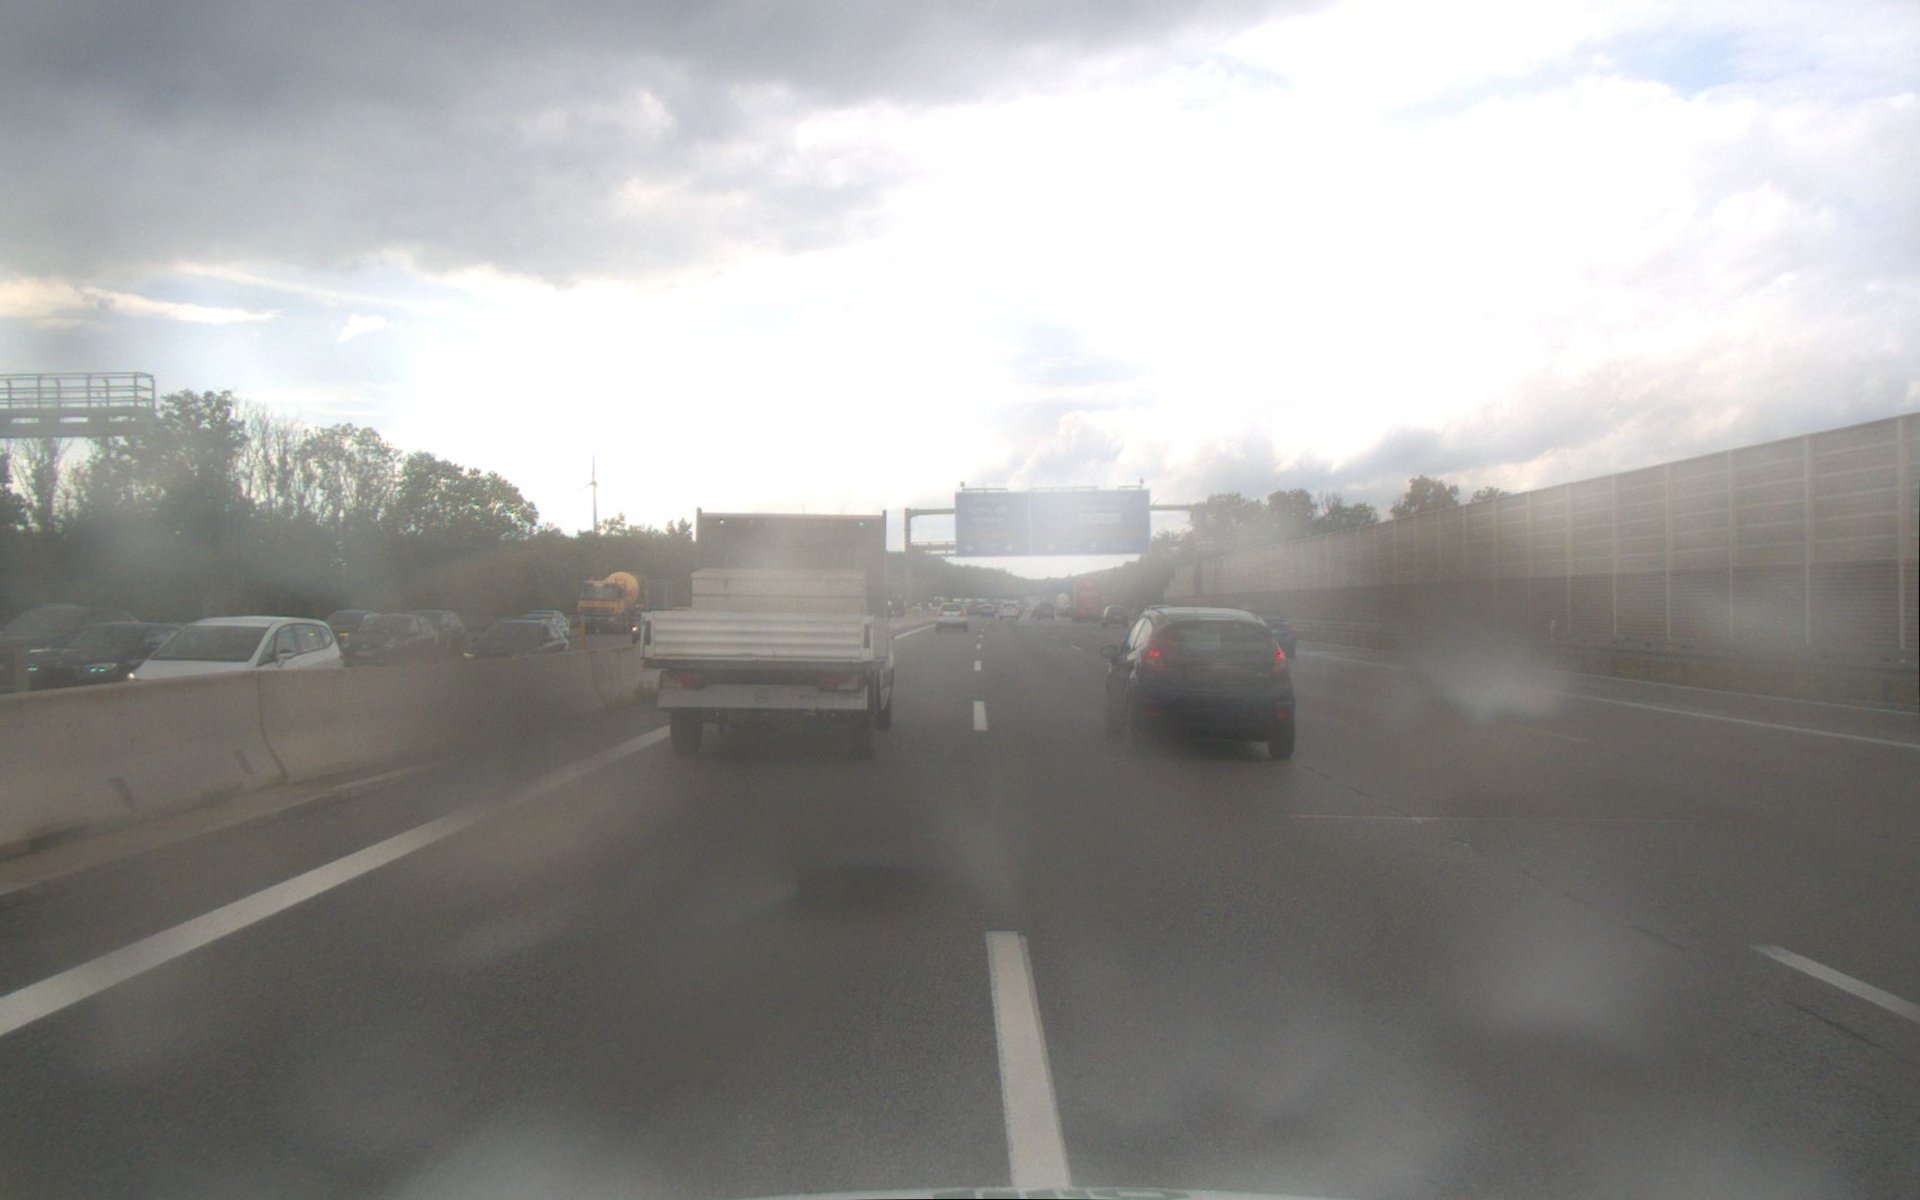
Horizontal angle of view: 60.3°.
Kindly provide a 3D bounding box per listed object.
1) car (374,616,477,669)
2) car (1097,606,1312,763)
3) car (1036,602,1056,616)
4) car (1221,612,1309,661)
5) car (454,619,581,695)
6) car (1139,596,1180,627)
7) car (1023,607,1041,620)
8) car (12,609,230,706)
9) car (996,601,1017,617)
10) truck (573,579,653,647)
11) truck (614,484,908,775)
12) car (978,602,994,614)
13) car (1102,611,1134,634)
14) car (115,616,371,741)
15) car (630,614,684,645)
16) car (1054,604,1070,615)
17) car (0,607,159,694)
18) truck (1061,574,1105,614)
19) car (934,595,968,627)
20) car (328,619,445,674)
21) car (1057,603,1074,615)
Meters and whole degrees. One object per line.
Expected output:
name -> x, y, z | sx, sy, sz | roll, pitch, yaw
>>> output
car -> -18.246, 1.418, 56.685 | 1.687, 1.675, 5.236 | 1, -1, 1
car -> 2.473, 0.797, 17.643 | 1.682, 1.442, 4.278 | 0, 0, 0
car -> 9.423, 0.986, 182.140 | 1.928, 1.588, 4.432 | 0, -1, -1
car -> 9.331, 1.094, 50.900 | 1.910, 1.443, 4.232 | 0, 0, 0
car -> -10.690, 1.340, 40.276 | 1.688, 1.675, 4.992 | 1, -1, 0
car -> 10.549, 0.610, 87.685 | 1.843, 1.569, 4.434 | 0, -1, 2
car -> 8.879, 1.670, 204.796 | 1.928, 1.588, 4.431 | 0, -1, -2
car -> -15.905, 1.045, 31.658 | 1.687, 1.675, 4.520 | 1, -1, 2
car -> 4.674, 0.893, 165.929 | 1.928, 1.588, 4.432 | 0, -1, -1
truck -> -21.746, 0.817, 104.129 | 2.855, 4.085, 9.584 | 0, 0, 1
truck -> -1.824, 0.220, 17.801 | 2.259, 2.482, 7.148 | 1, 1, 0
car -> 3.326, 1.013, 211.474 | 1.928, 1.588, 4.432 | 0, -1, -1
car -> 11.333, 1.598, 119.041 | 1.844, 1.588, 4.432 | 0, -1, -1
car -> -10.818, 1.110, 25.389 | 1.688, 1.675, 4.997 | 1, -1, 0
car -> -14.680, 1.411, 80.367 | 1.687, 1.453, 4.519 | 1, -1, 1
car -> 14.917, 1.417, 242.197 | 1.928, 1.588, 4.432 | 0, -1, -1
car -> -18.705, 1.001, 34.495 | 1.687, 1.675, 4.519 | 1, -1, 1
truck -> 12.003, -0.618, 162.515 | 3.088, 3.664, 12.697 | 1, 0, -1
car -> -0.478, 0.560, 88.567 | 1.682, 1.652, 4.279 | 0, 1, 1
car -> -15.834, 1.258, 45.887 | 1.687, 1.443, 4.202 | -1, -1, 1
car -> 13.878, 1.151, 218.032 | 1.928, 1.588, 4.432 | 0, -1, -1
